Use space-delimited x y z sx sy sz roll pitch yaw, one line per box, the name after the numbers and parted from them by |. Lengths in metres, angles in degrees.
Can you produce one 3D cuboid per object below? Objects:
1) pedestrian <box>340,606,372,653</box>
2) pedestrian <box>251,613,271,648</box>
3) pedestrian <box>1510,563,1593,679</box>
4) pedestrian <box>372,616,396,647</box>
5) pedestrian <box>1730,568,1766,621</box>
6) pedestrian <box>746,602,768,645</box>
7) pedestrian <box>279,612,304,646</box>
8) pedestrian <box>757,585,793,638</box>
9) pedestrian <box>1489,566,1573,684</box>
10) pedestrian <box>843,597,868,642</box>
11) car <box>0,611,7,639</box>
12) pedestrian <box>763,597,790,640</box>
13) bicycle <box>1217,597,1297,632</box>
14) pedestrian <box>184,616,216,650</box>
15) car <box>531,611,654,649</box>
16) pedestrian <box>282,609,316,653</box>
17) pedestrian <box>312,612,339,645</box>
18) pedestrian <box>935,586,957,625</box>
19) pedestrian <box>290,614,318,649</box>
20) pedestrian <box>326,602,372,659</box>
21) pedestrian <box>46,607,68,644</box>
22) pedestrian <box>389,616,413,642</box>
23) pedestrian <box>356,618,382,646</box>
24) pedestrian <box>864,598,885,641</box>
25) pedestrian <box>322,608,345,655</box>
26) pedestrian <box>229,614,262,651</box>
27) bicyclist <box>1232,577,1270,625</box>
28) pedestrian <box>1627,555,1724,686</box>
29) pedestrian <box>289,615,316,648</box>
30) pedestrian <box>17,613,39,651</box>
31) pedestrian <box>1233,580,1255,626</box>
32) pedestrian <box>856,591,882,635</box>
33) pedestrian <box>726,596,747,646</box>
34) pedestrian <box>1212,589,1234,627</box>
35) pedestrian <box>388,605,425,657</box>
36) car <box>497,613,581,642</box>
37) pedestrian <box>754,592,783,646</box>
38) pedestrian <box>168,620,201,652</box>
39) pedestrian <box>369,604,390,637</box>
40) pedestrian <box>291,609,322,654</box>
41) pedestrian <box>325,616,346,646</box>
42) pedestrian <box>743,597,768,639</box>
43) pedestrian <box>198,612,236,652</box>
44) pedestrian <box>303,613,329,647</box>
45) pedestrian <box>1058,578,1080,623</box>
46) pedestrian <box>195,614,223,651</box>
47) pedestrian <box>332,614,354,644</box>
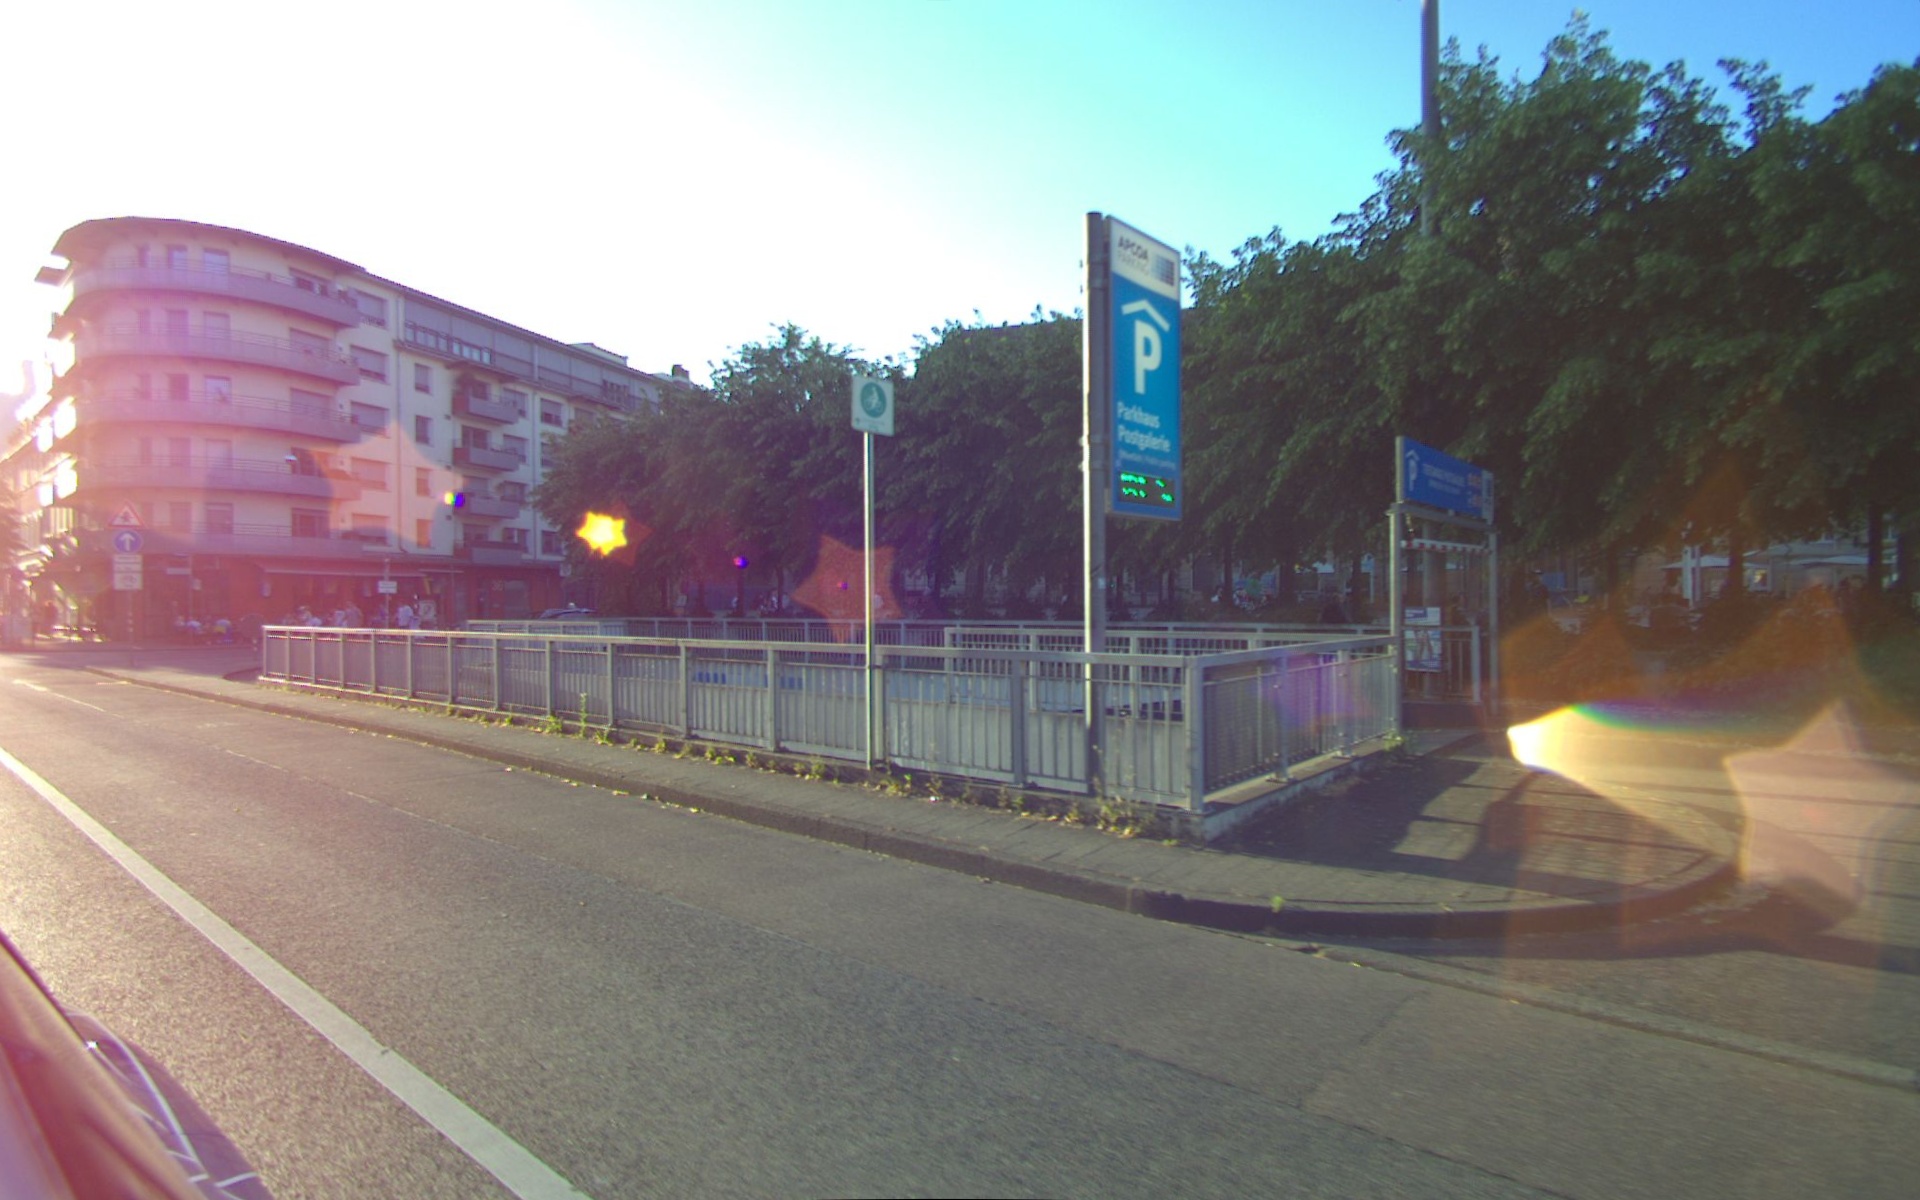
-24.508 1.196 41.059 0.710 1.891 0.845 -2 -1 25 | pedestrian
-31.599 1.376 45.739 0.638 1.547 0.754 -1 0 -40 | pedestrian
10.677 0.369 18.288 0.899 2.029 0.922 -1 0 -26 | pedestrian
-29.505 1.585 51.820 0.840 1.547 0.715 -2 -1 -5 | pedestrian
29.470 -0.214 37.864 0.791 1.963 0.733 -1 0 -24 | pedestrian
-7.074 0.819 35.328 0.704 1.497 0.605 -2 -1 -12 | pedestrian
-31.042 1.336 46.968 0.669 1.547 0.651 2 0 15 | pedestrian
-6.767 0.423 37.026 0.884 1.867 0.978 -2 -1 22 | pedestrian
10.167 0.429 18.032 0.899 2.029 0.922 -1 0 -26 | pedestrian
-3.749 0.699 36.370 0.786 1.594 0.732 -2 -1 -9 | pedestrian
-54.872 1.415 54.929 1.816 1.553 4.386 -1 -1 39 | car
-7.895 0.795 43.492 0.696 1.833 1.117 -1 -1 16 | pedestrian
9.669 0.467 32.997 2.294 1.110 0.952 -1 -1 -3 | bicycle
-31.613 1.357 42.104 0.758 1.392 0.841 0 0 -8 | pedestrian
-15.391 1.242 42.428 4.403 1.441 2.099 -2 -1 12 | car
-27.790 1.299 42.535 0.845 1.807 0.863 -2 -1 19 | pedestrian
-30.263 1.353 48.248 0.845 1.547 0.676 -2 -1 14 | pedestrian
-0.737 0.282 52.785 0.827 2.029 1.059 -1 0 20 | pedestrian
-30.190 1.443 46.586 0.707 1.547 0.756 3 0 14 | pedestrian
-20.765 1.025 34.394 0.977 1.898 0.884 -2 -1 20 | pedestrian
-48.478 1.354 54.325 0.803 1.963 0.721 -1 -1 36 | pedestrian
-28.651 1.483 51.886 0.840 1.287 0.715 0 2 -4 | pedestrian
-29.113 1.554 49.816 0.877 1.315 0.842 1 1 37 | pedestrian
-3.586 0.807 42.282 0.617 1.740 0.799 -1 -1 16 | pedestrian
-24.829 1.236 40.123 0.702 1.816 0.885 -1 -1 -35 | pedestrian
-30.921 1.391 43.818 0.709 1.547 0.848 4 1 19 | pedestrian
9.494 0.041 33.098 0.742 1.521 1.383 -1 -1 -4 | bicyclist
11.531 0.310 16.330 0.899 2.029 0.922 -1 0 -26 | pedestrian
-30.949 1.490 47.664 0.763 1.515 0.779 -1 -1 15 | pedestrian
-49.114 1.672 53.315 0.739 1.963 0.722 -1 -1 36 | pedestrian
10.489 0.098 37.399 0.701 1.660 1.262 -1 -1 14 | pedestrian
-3.326 0.468 36.948 0.591 1.554 0.672 -3 -1 35 | pedestrian
-7.991 0.759 36.133 0.676 1.759 0.717 -2 -1 -12 | pedestrian
9.785 0.285 37.624 0.730 1.390 1.262 -1 -1 13 | pedestrian
-19.917 1.107 36.415 0.968 1.807 0.892 -1 -1 -17 | pedestrian
-24.261 1.551 58.502 1.865 1.564 4.601 -2 -1 19 | car
-6.853 0.688 36.124 0.768 1.889 0.716 -1 -1 -31 | pedestrian
-32.390 1.487 42.276 0.675 1.291 0.970 0 1 -8 | pedestrian
-30.775 1.106 53.675 0.712 1.734 0.665 -1 -1 16 | pedestrian
-27.032 1.302 41.873 0.806 1.807 0.732 -2 -1 20 | pedestrian
-30.188 1.485 48.907 0.661 1.445 0.558 1 0 15 | pedestrian
-8.839 0.762 43.825 0.756 1.795 0.793 -1 0 19 | pedestrian
-31.683 1.369 43.158 0.712 1.545 0.683 0 -19 33 | pedestrian
-30.150 1.416 47.376 0.644 1.539 0.697 3 0 13 | pedestrian
4.288 0.029 39.940 0.697 1.740 0.916 -1 -1 16 | pedestrian
-32.521 1.402 43.834 0.702 1.547 0.855 -1 -1 -17 | pedestrian
-30.355 1.425 49.820 0.708 1.432 0.599 -2 -1 17 | pedestrian
